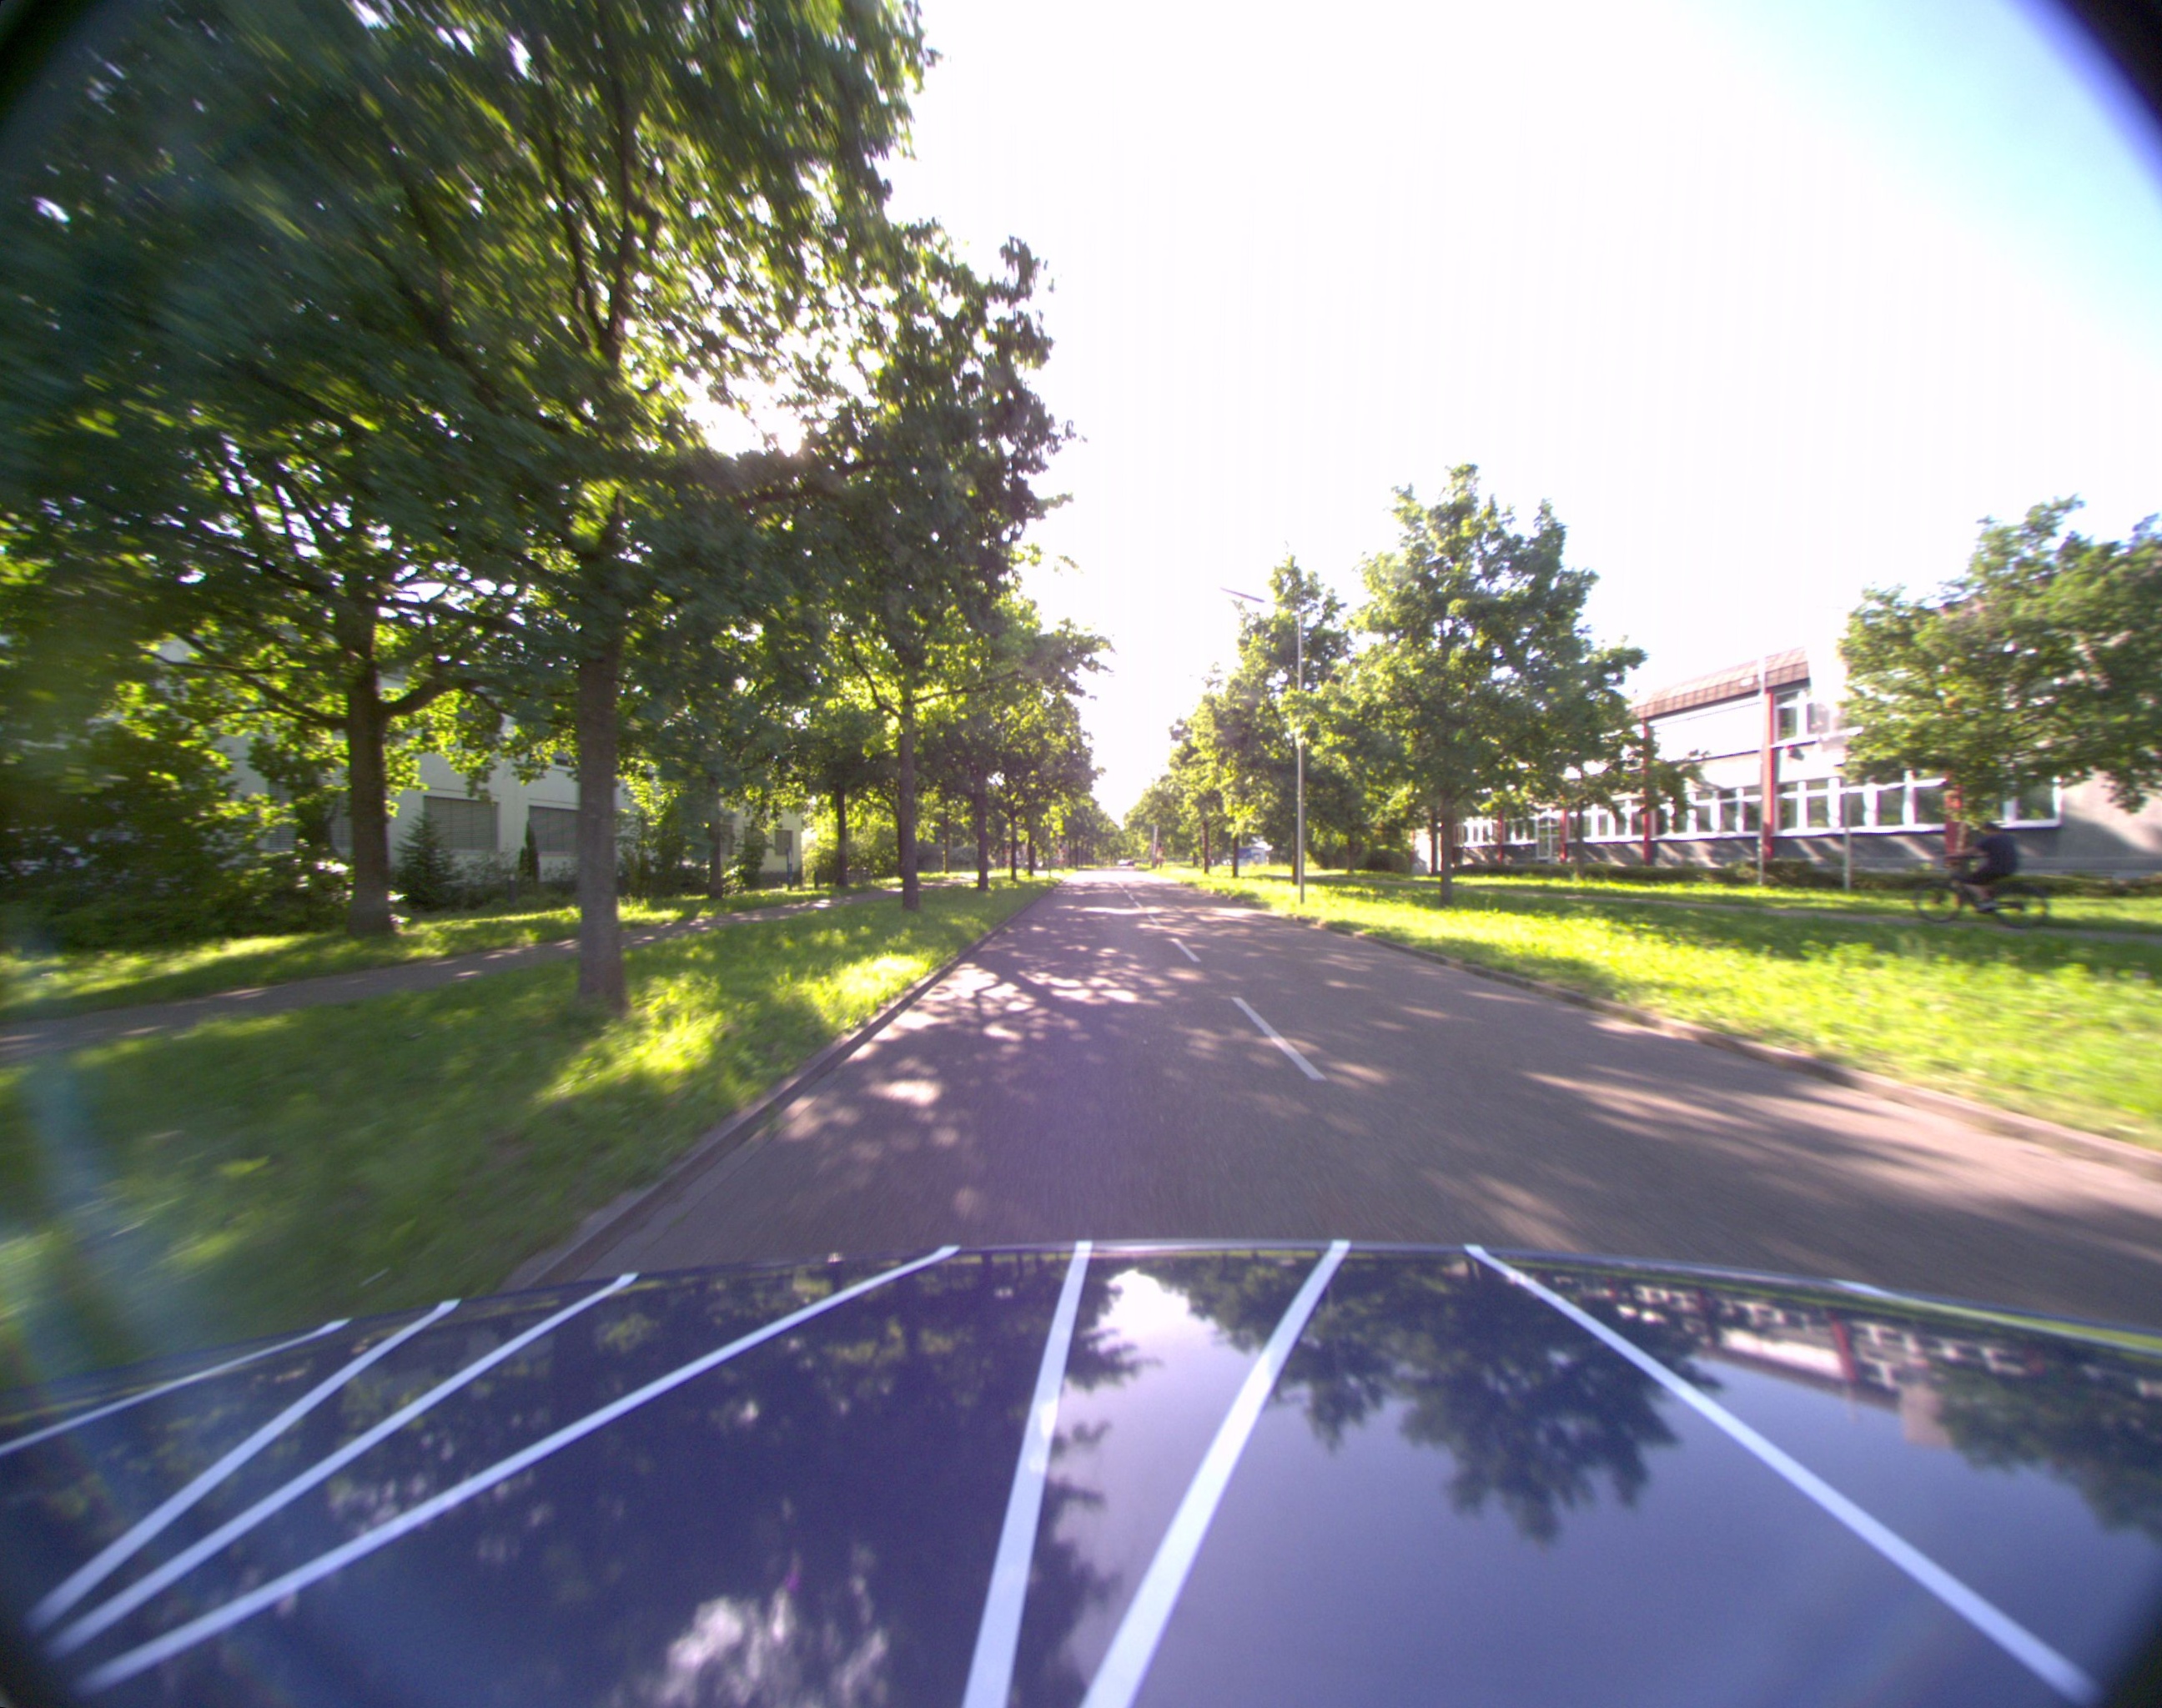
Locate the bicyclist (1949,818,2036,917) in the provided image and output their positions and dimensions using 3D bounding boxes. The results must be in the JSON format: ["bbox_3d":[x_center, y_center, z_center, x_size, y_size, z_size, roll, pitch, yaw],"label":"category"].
[{"bbox_3d":[15.474,0.216,12.915,0.665,1.619,0.659,-2,1,1],"label":"bicyclist"}]

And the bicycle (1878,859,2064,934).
[{"bbox_3d":[15.510,0.690,13.364,0.552,1.155,2.334,-2,1,1],"label":"bicycle"}]
